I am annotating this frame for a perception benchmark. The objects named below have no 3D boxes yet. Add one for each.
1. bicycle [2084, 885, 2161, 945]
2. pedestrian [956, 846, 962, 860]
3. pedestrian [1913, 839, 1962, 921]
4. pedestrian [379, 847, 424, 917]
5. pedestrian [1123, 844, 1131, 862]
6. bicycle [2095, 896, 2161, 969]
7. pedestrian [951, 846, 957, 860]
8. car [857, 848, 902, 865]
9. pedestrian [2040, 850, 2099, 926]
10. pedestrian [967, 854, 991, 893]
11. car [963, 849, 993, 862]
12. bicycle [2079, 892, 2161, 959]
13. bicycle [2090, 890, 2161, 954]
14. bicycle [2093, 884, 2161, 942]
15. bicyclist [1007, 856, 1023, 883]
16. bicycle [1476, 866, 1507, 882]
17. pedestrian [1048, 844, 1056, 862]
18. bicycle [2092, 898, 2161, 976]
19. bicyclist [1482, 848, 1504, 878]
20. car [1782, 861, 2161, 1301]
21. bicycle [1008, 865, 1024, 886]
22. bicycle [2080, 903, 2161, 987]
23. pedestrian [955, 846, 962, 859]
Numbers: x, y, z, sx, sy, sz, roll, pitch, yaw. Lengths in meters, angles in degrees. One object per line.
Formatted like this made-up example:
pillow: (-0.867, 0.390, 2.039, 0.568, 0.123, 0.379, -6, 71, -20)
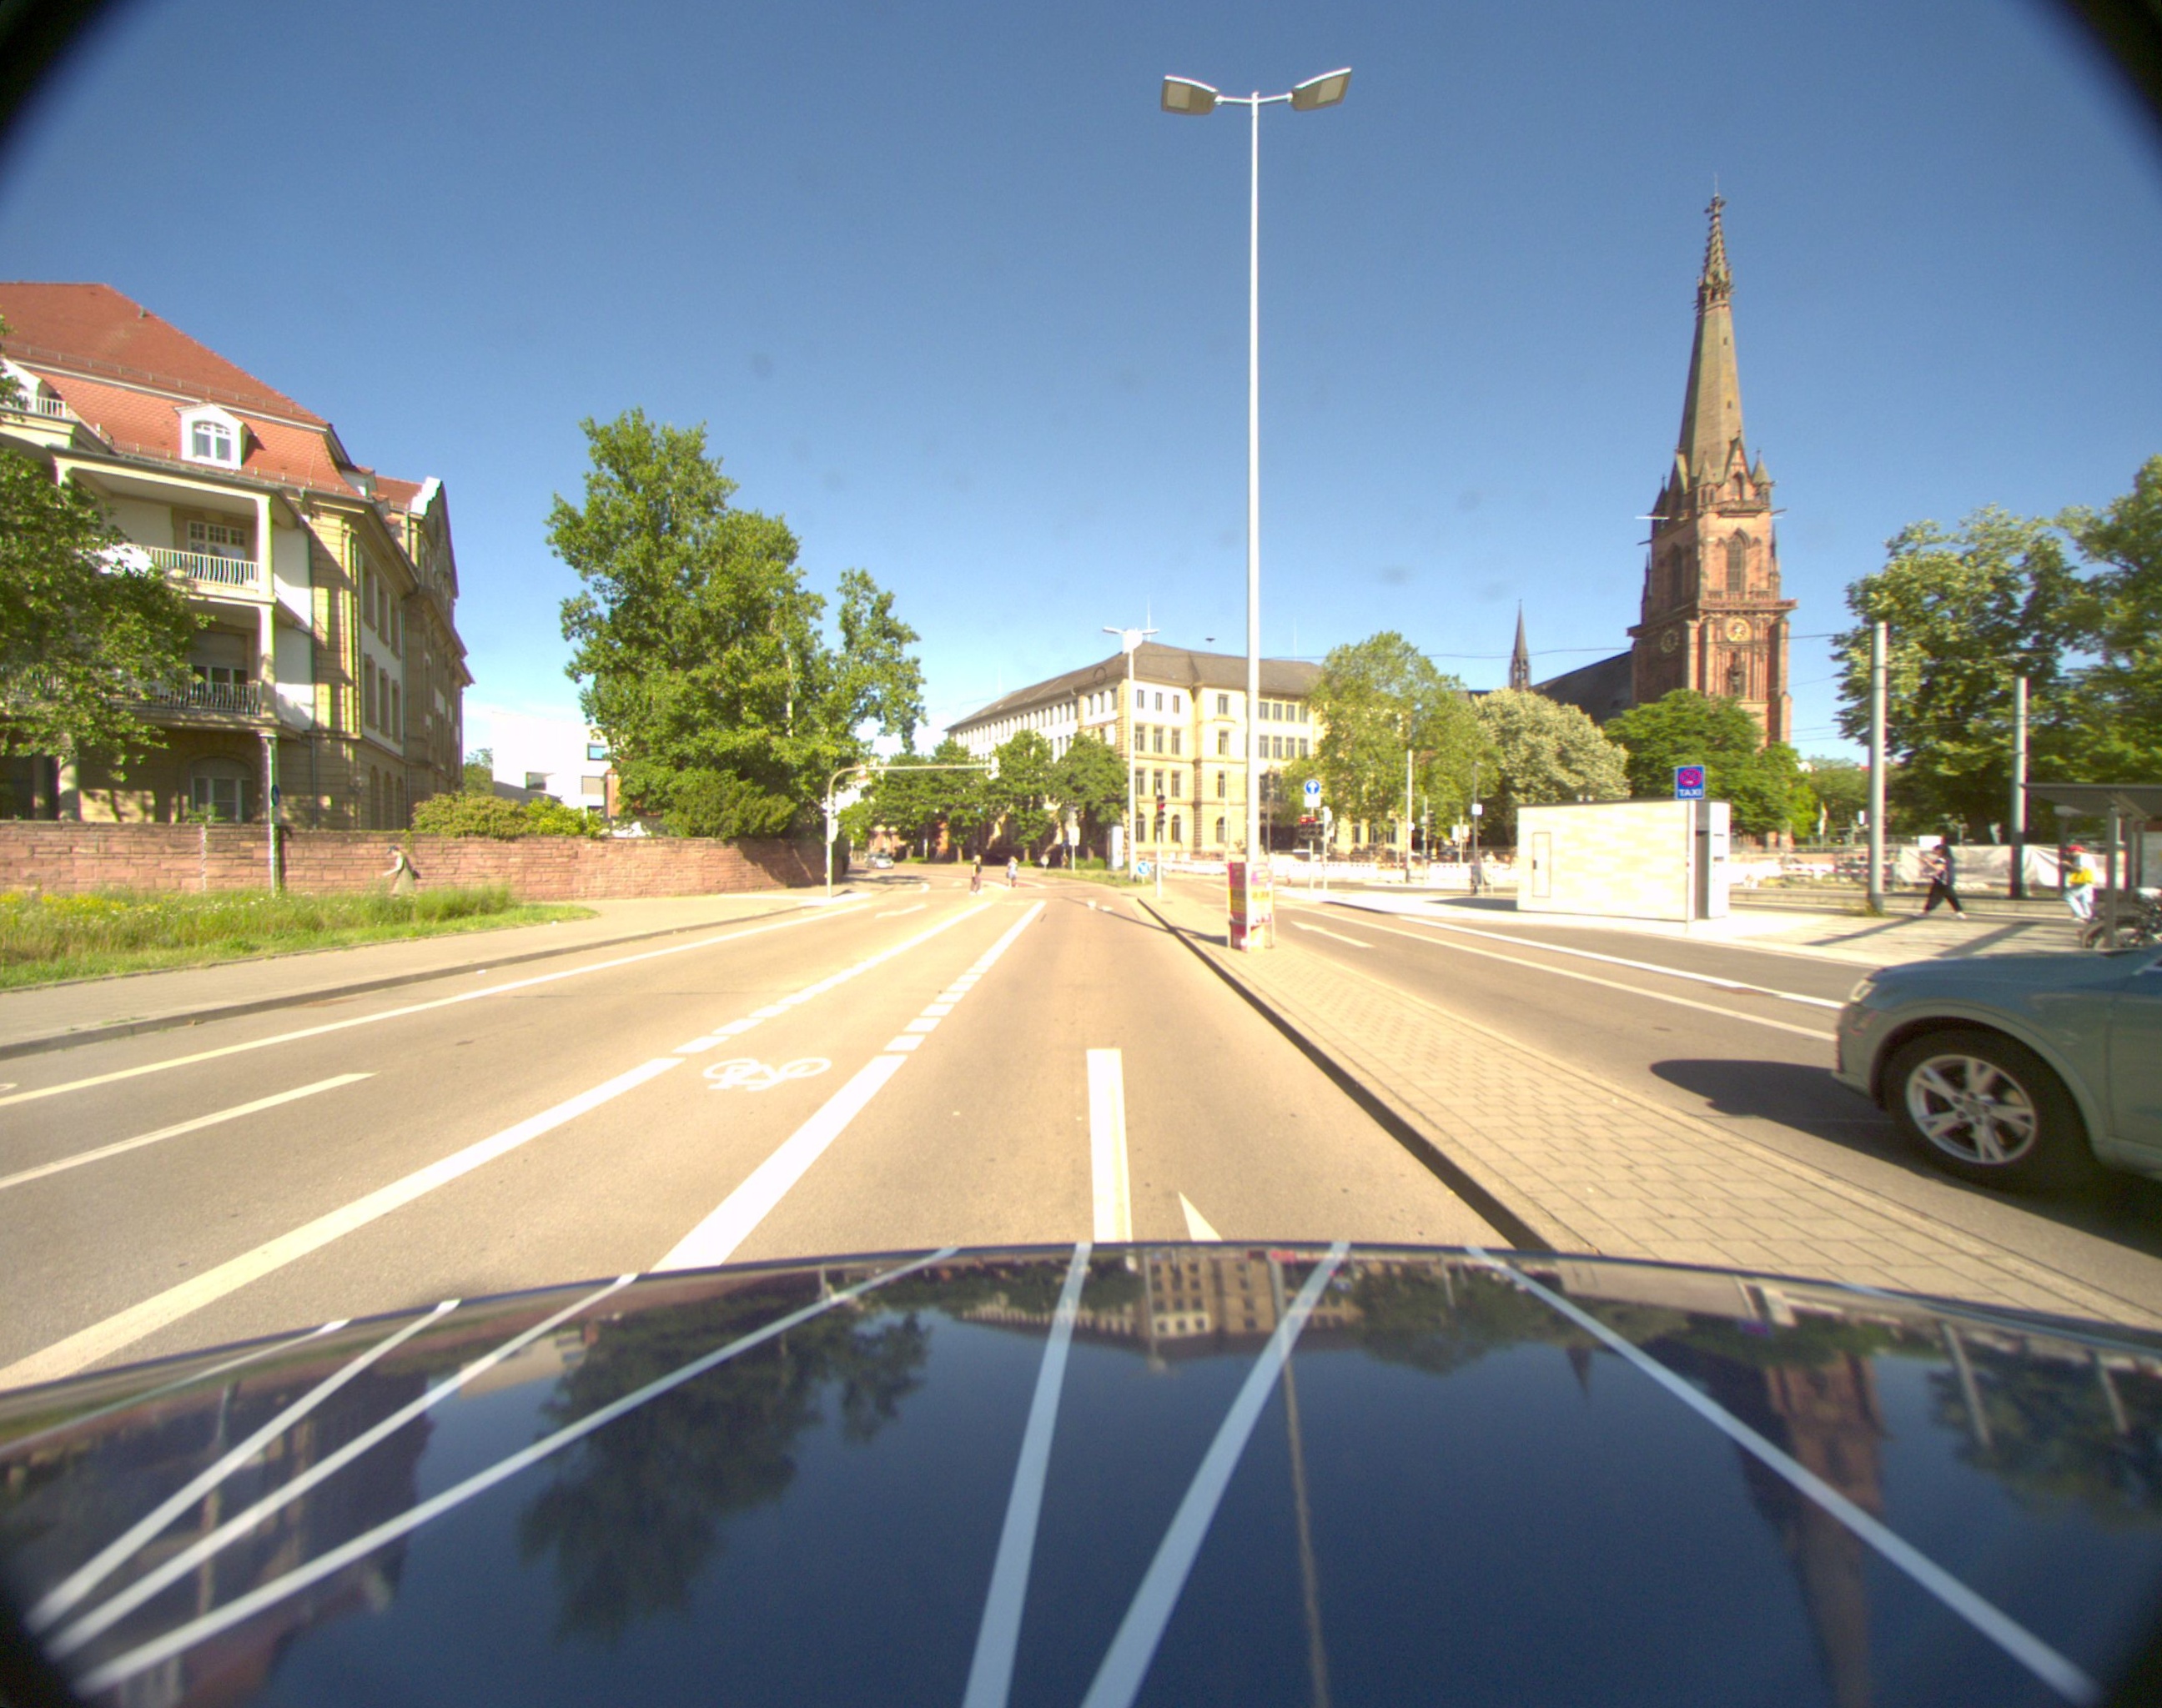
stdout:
bicycle: (19.031, 1.084, 13.338, 0.407, 0.993, 1.679, -3, 2, -33)
pedestrian: (-16.787, -0.182, 104.608, 0.578, 1.893, 0.849, -1, 1, -36)
pedestrian: (19.908, 0.590, 17.674, 0.700, 1.849, 0.622, 0, 2, 43)
pedestrian: (-18.503, 0.735, 20.698, 0.628, 1.847, 0.789, 1, 1, 39)
pedestrian: (4.483, -0.072, 73.585, 0.540, 1.710, 0.545, -1, 1, -37)
bicycle: (16.132, 1.182, 11.000, 0.407, 0.993, 1.678, -3, 3, -33)
pedestrian: (-17.437, -0.152, 104.250, 0.578, 1.893, 0.781, -1, 1, -36)
car: (-20.614, 0.255, 77.577, 4.838, 1.580, 2.004, -2, 1, 41)
pedestrian: (21.647, 0.723, 16.644, 0.621, 1.613, 0.700, -1, 1, -32)
pedestrian: (-4.409, 0.850, 32.804, 0.932, 1.657, 0.630, 0, 1, 0)
car: (-12.257, 0.144, 90.317, 1.839, 1.587, 3.989, -1, 1, -37)
bicycle: (17.188, 1.141, 12.013, 0.407, 0.993, 1.679, -3, 2, -33)
bicycle: (17.968, 1.137, 12.460, 0.407, 0.993, 1.679, -3, 2, -33)
bicycle: (19.517, 1.065, 13.580, 0.407, 0.993, 1.679, -3, 2, -33)
bicyclist: (-3.438, 0.790, 39.696, 0.741, 1.363, 0.626, -2, 1, -6)
bicycle: (21.775, 1.053, 40.258, 2.057, 0.777, 0.739, -1, 1, -40)
pedestrian: (-3.273, -0.103, 85.651, 0.557, 2.002, 0.645, -1, 1, -37)
bicycle: (15.033, 1.166, 10.209, 0.407, 0.993, 1.678, -3, 3, -33)
bicyclist: (21.794, 0.470, 40.211, 0.887, 1.562, 0.739, -1, 1, -39)
car: (4.862, 0.854, 2.062, 1.793, 1.572, 4.256, 1, 0, -4)
bicycle: (-3.421, 1.121, 39.715, 0.741, 0.989, 2.305, -2, 1, -6)
bicycle: (13.988, 1.188, 9.552, 0.407, 0.993, 1.678, -3, 3, -33)
pedestrian: (-17.425, -0.194, 107.891, 0.578, 1.893, 0.849, -1, 1, -36)
